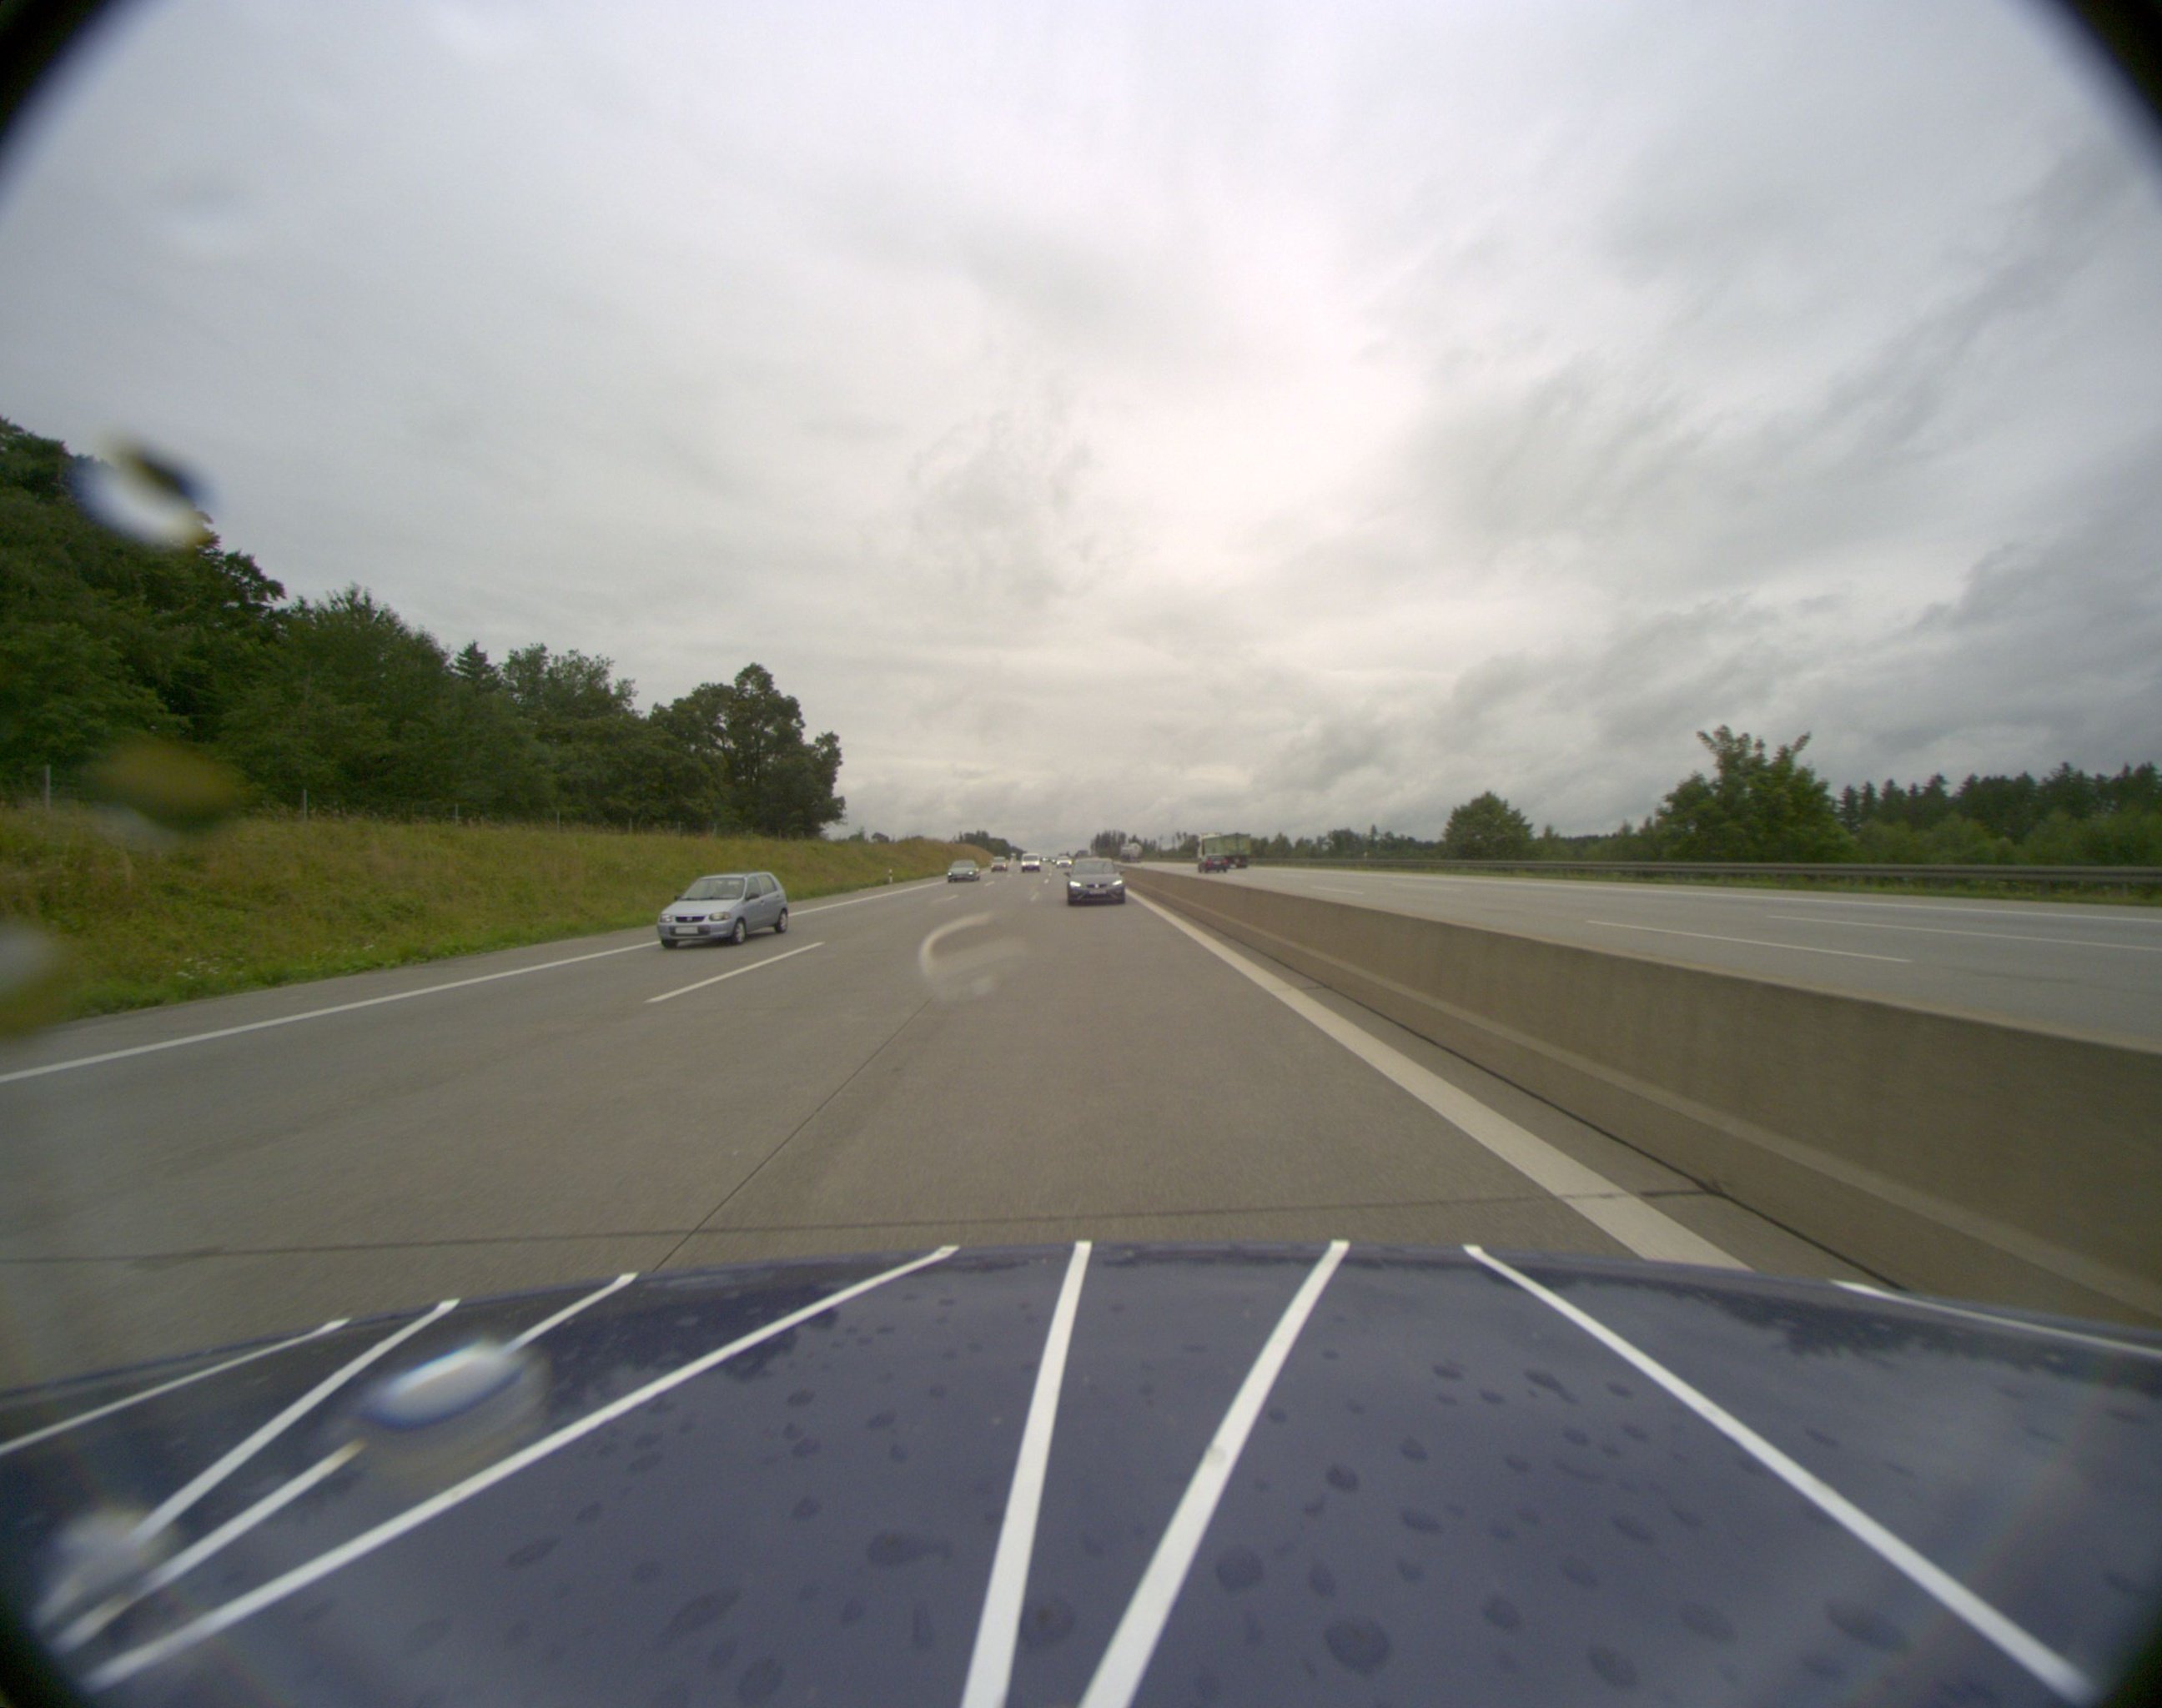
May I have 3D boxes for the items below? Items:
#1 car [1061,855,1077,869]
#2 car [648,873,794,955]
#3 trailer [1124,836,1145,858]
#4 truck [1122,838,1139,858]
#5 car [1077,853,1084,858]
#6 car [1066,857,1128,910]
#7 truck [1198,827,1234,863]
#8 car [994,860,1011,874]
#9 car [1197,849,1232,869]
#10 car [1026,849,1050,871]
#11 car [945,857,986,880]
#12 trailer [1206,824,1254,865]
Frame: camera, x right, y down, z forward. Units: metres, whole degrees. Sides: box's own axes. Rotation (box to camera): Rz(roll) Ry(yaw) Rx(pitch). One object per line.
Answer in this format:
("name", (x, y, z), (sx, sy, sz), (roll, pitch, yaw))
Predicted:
("car", (-1.543, 1.056, 99.188), (1.999, 1.632, 5.042), (1, -1, -1))
("car", (-7.419, 1.171, 16.033), (1.489, 1.462, 3.504), (-1, -1, -2))
("trailer", (10.894, -1.323, 155.567), (2.766, 3.974, 12.288), (-2, -1, -3))
("truck", (10.534, -1.196, 162.333), (2.754, 3.975, 6.928), (-2, -1, -3))
("car", (-0.226, 0.480, 216.690), (1.797, 1.408, 4.342), (-2, -1, -3))
("car", (0.476, 0.861, 24.502), (1.789, 1.472, 4.570), (-1, 0, 0))
("truck", (14.910, -0.955, 84.165), (2.757, 3.780, 5.529), (-2, 1, -1))
("car", (-9.080, 1.479, 88.093), (1.790, 1.595, 4.569), (1, -1, -5))
("car", (11.074, 0.412, 63.337), (1.999, 1.580, 4.770), (-2, 0, -1))
("car", (-4.466, 0.641, 79.033), (2.043, 2.111, 6.069), (1, -1, 1))
("car", (-8.104, 1.001, 53.788), (2.019, 1.437, 4.745), (-3, -1, 1))
("trailer", (15.067, -0.913, 77.452), (2.757, 3.777, 9.314), (-2, 0, -1))
